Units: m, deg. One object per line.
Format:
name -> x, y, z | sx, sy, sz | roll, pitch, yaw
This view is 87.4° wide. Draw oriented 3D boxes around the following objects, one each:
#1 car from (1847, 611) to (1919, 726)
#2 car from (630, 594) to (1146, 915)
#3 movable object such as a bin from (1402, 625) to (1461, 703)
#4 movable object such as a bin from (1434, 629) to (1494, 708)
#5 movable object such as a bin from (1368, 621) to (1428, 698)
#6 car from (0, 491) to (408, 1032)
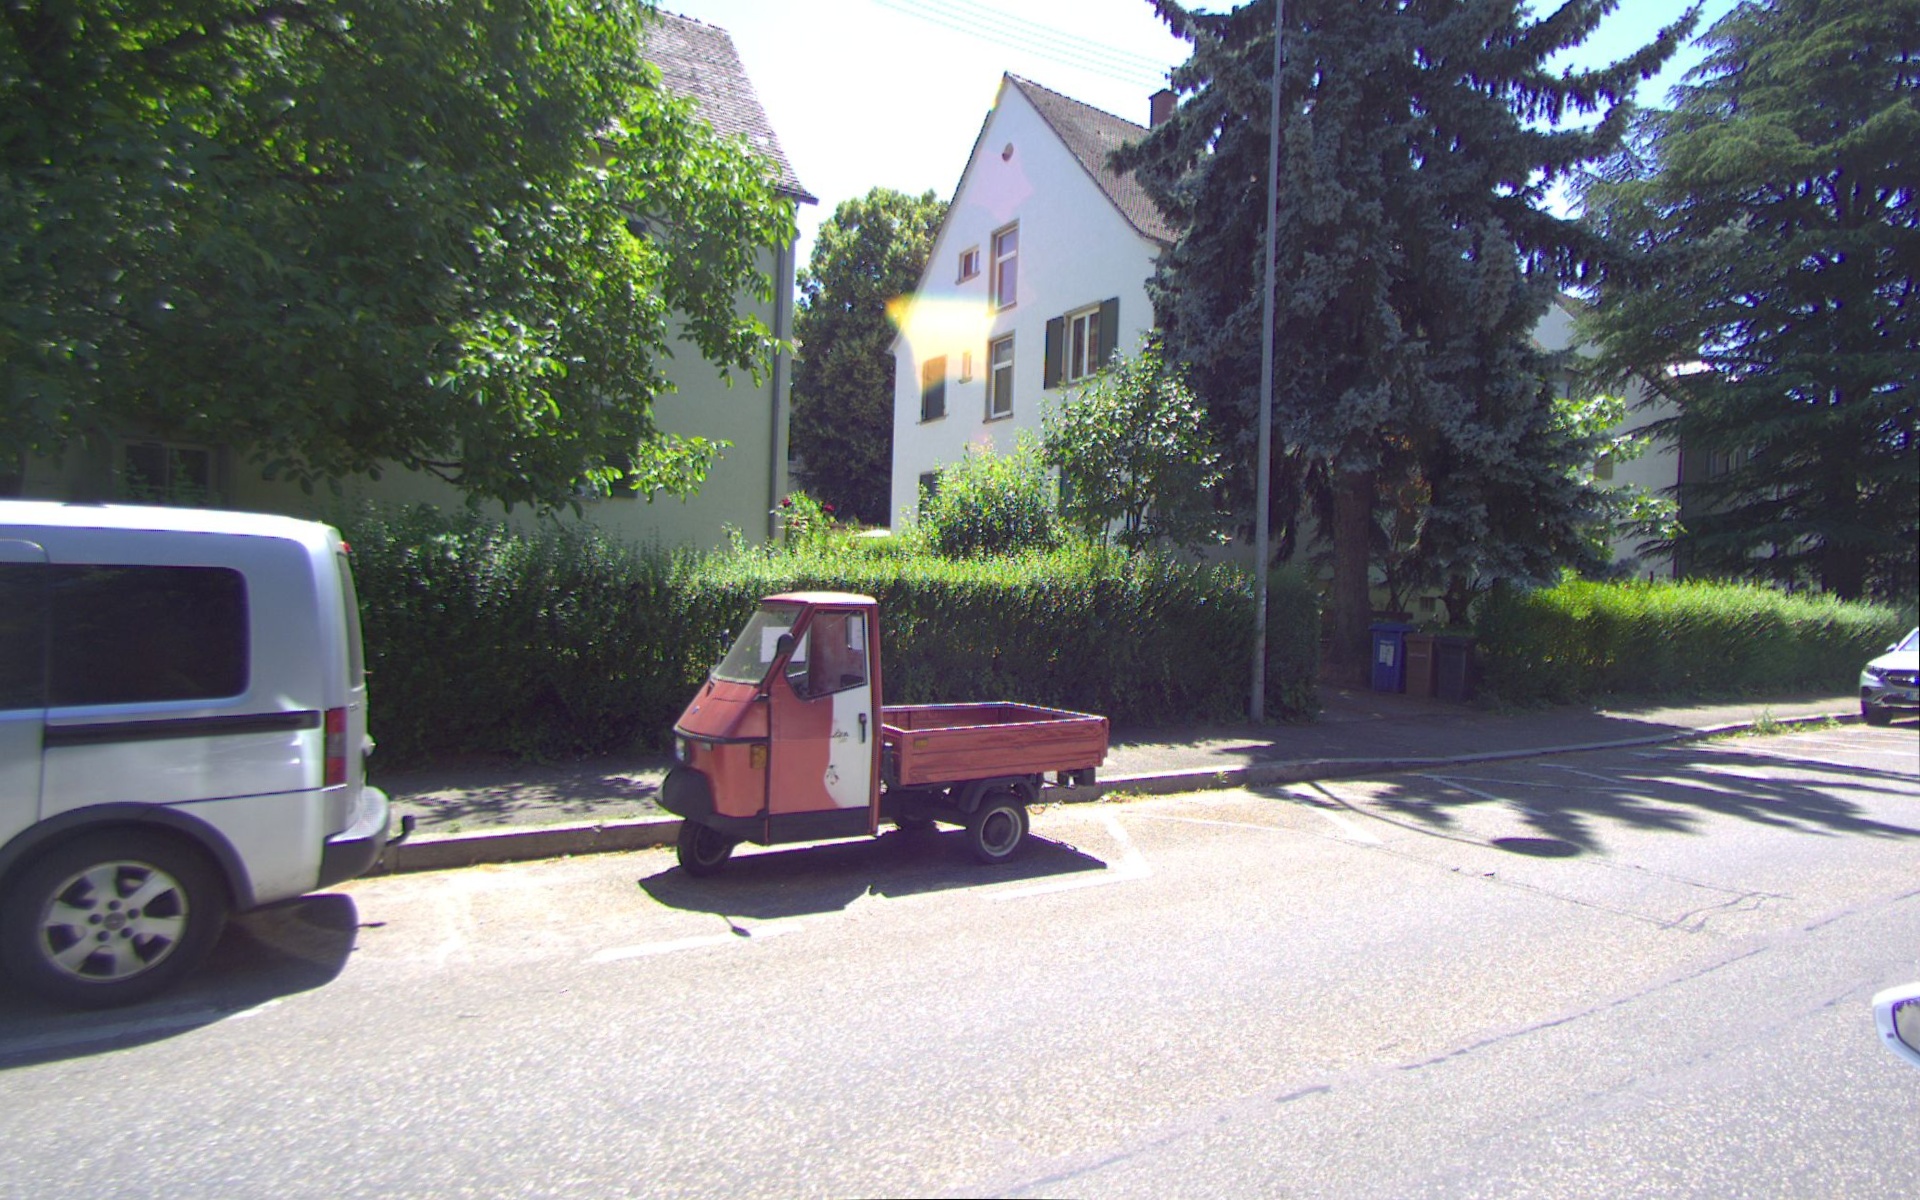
car -> 16.090, 1.052, 15.930 | 4.661, 1.693, 1.840 | 1, -2, -33
car -> -0.420, 0.777, 6.103 | 2.806, 1.523, 1.405 | 1, -2, -29
movable object such as a bin -> 7.035, 0.938, 14.987 | 0.635, 1.097, 0.483 | 0, 4, -33
movable object such as a bin -> 7.313, 0.982, 14.581 | 0.610, 1.080, 0.483 | 0, 4, -33
movable object such as a bin -> 6.741, 0.905, 15.463 | 0.638, 1.097, 0.536 | 0, 4, -33
car -> -4.409, 0.527, 3.530 | 4.302, 1.775, 1.640 | 1, -1, -30
